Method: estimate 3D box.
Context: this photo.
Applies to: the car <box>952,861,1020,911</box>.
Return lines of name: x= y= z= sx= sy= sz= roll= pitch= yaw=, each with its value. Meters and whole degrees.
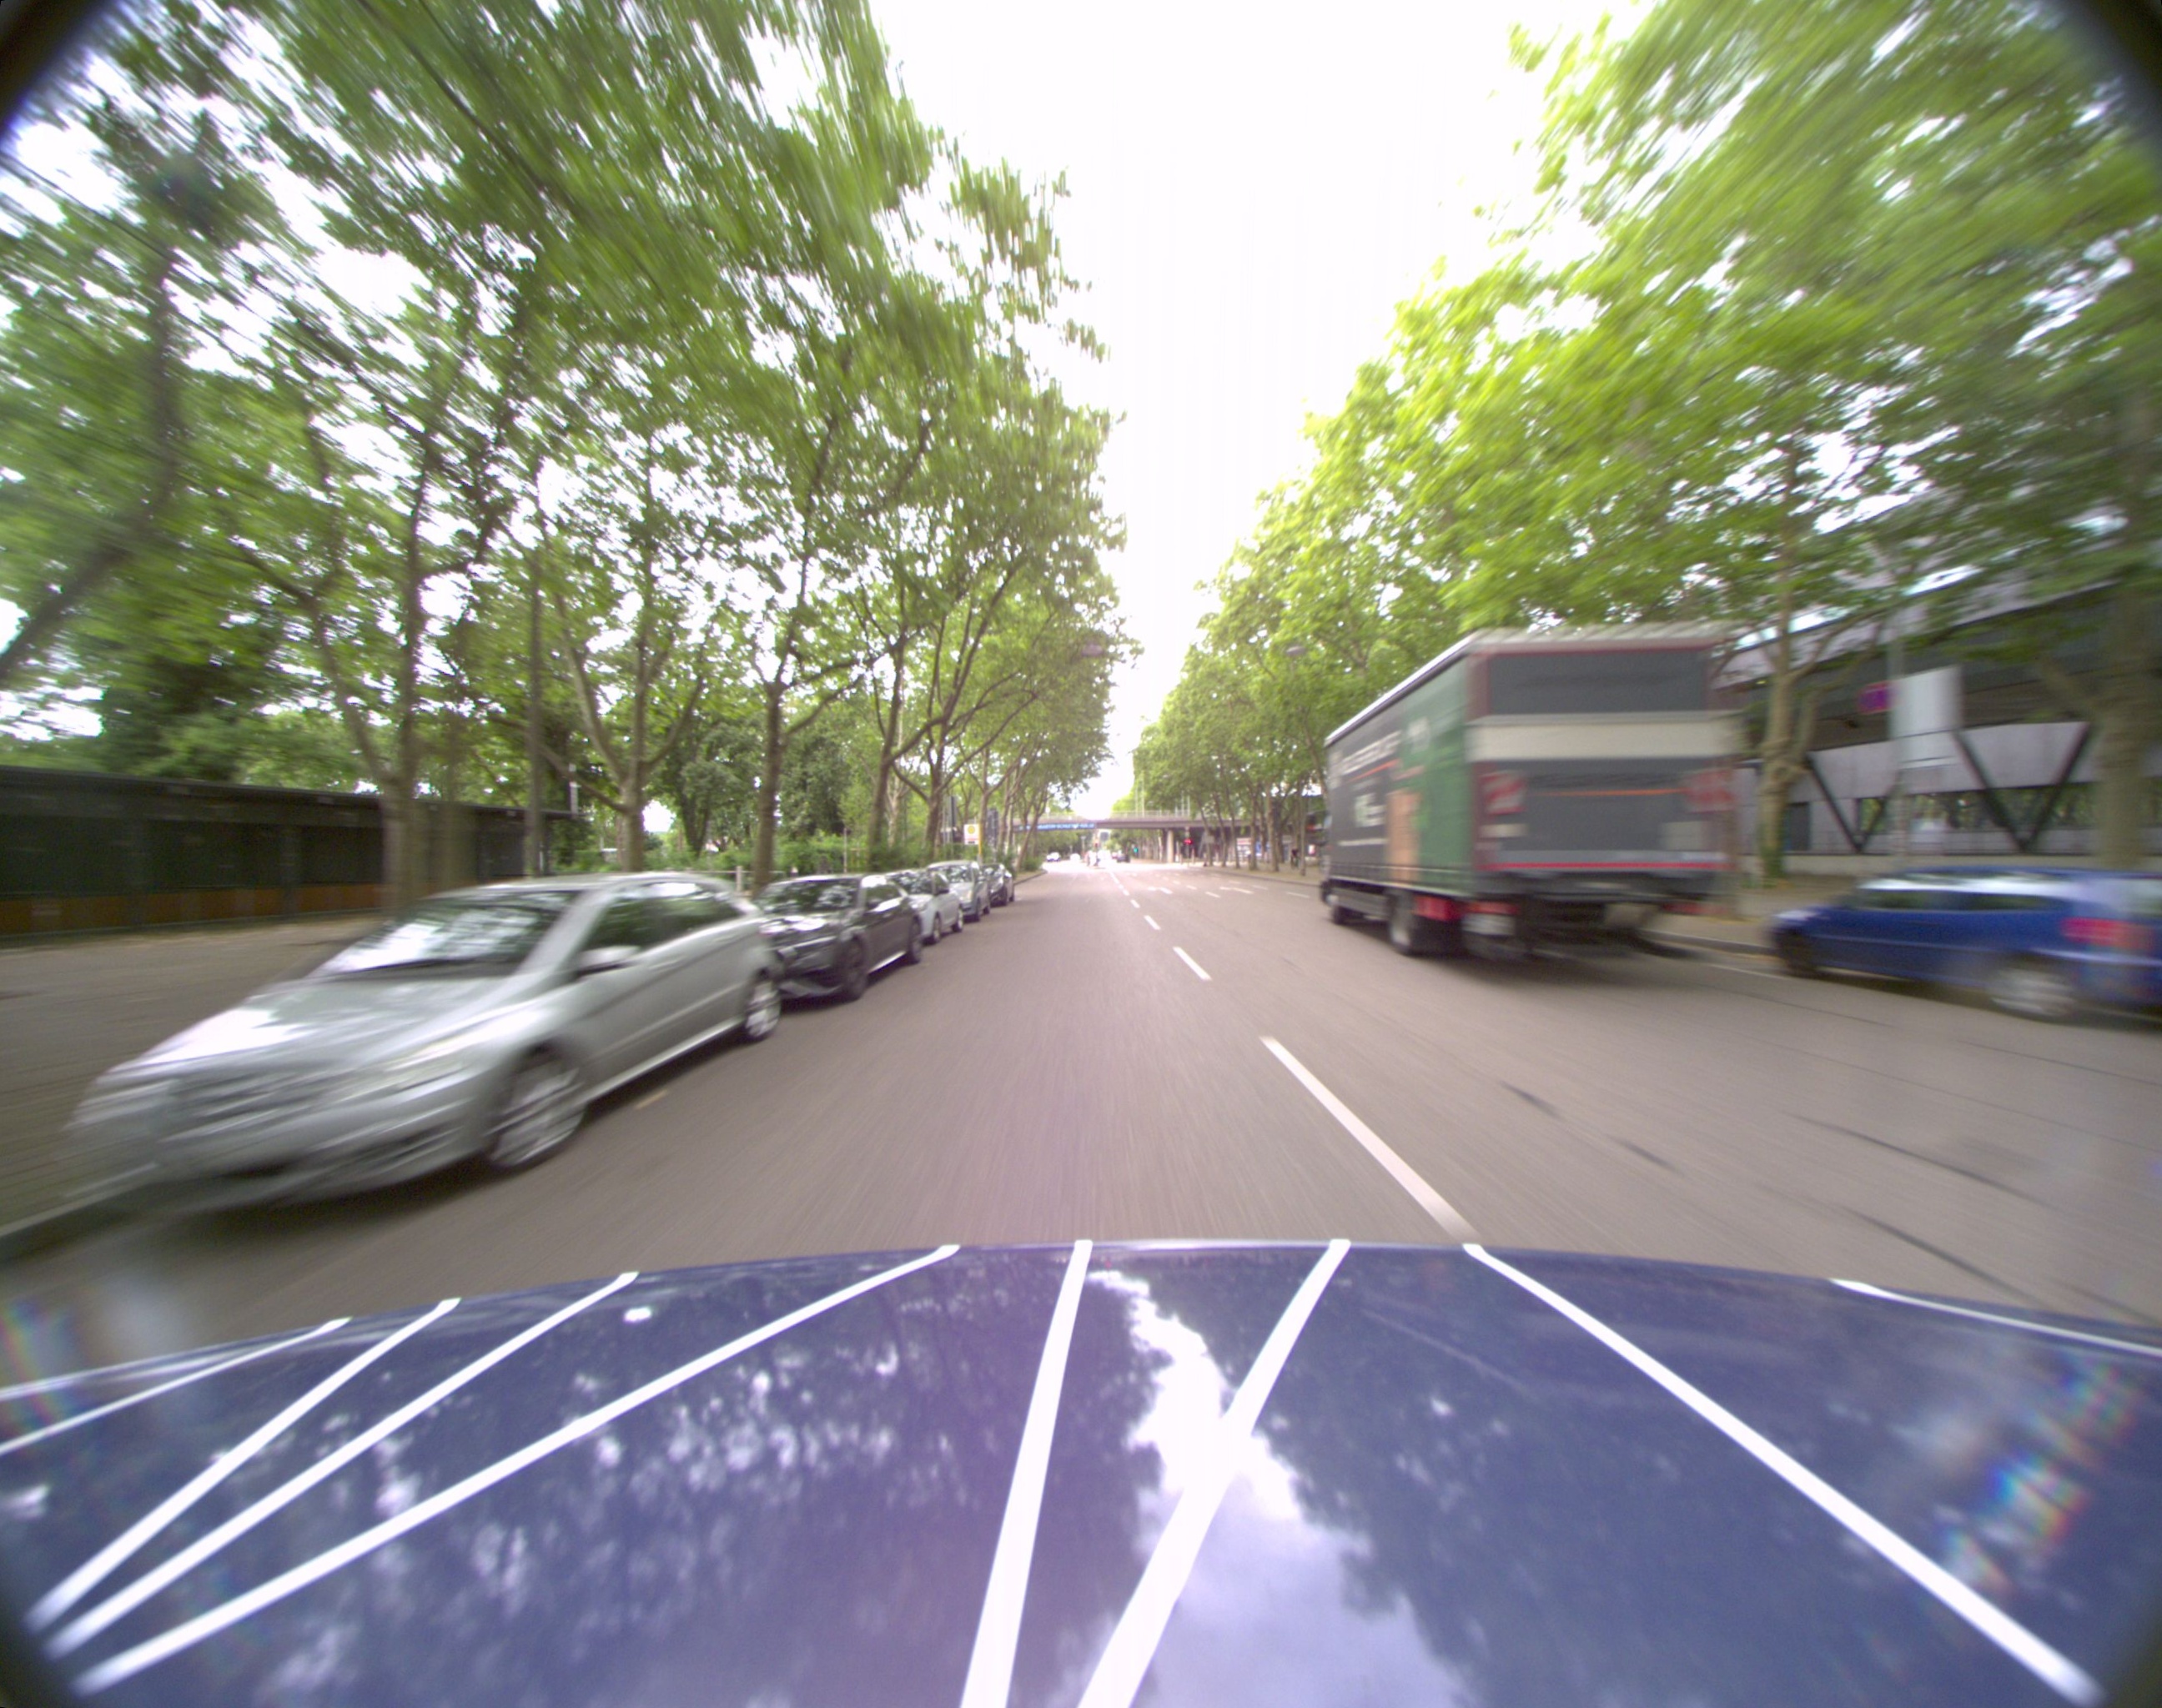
car: x=-3.232 y=1.048 z=26.529 sx=1.734 sy=1.460 sz=4.079 roll=-4 pitch=0 yaw=0

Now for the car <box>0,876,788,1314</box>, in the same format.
car: x=-3.853 y=1.084 z=5.292 sx=1.783 sy=1.608 sz=4.224 roll=-4 pitch=0 yaw=2

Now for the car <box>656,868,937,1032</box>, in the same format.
car: x=-3.411 y=1.042 z=10.349 sx=1.734 sy=1.468 sz=4.982 roll=-4 pitch=0 yaw=2

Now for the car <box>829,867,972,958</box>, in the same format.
car: x=-3.524 y=1.085 z=15.622 sx=1.734 sy=1.413 sz=4.080 roll=-4 pitch=0 yaw=2

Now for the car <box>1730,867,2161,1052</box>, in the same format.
car: x=9.247 y=0.898 z=7.877 sx=1.698 sy=1.354 sz=4.001 roll=3 pitch=0 yaw=3

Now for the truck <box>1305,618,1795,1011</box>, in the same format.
truck: x=6.012 y=-0.460 z=12.306 sx=2.915 sy=3.846 sz=9.470 roll=0 pitch=1 yaw=6

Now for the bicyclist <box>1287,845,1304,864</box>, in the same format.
bicyclist: x=16.631 y=0.043 z=58.872 sx=0.938 sy=1.402 sz=1.121 roll=-2 pitch=1 yaw=-1

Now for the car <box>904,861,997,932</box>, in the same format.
car: x=-3.402 y=1.046 z=20.513 sx=1.734 sy=1.561 sz=4.079 roll=-4 pitch=0 yaw=-1

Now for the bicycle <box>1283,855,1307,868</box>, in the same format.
bicycle: x=16.514 y=0.572 z=58.715 sx=0.962 sy=0.977 sz=2.976 roll=-2 pitch=0 yaw=-1
